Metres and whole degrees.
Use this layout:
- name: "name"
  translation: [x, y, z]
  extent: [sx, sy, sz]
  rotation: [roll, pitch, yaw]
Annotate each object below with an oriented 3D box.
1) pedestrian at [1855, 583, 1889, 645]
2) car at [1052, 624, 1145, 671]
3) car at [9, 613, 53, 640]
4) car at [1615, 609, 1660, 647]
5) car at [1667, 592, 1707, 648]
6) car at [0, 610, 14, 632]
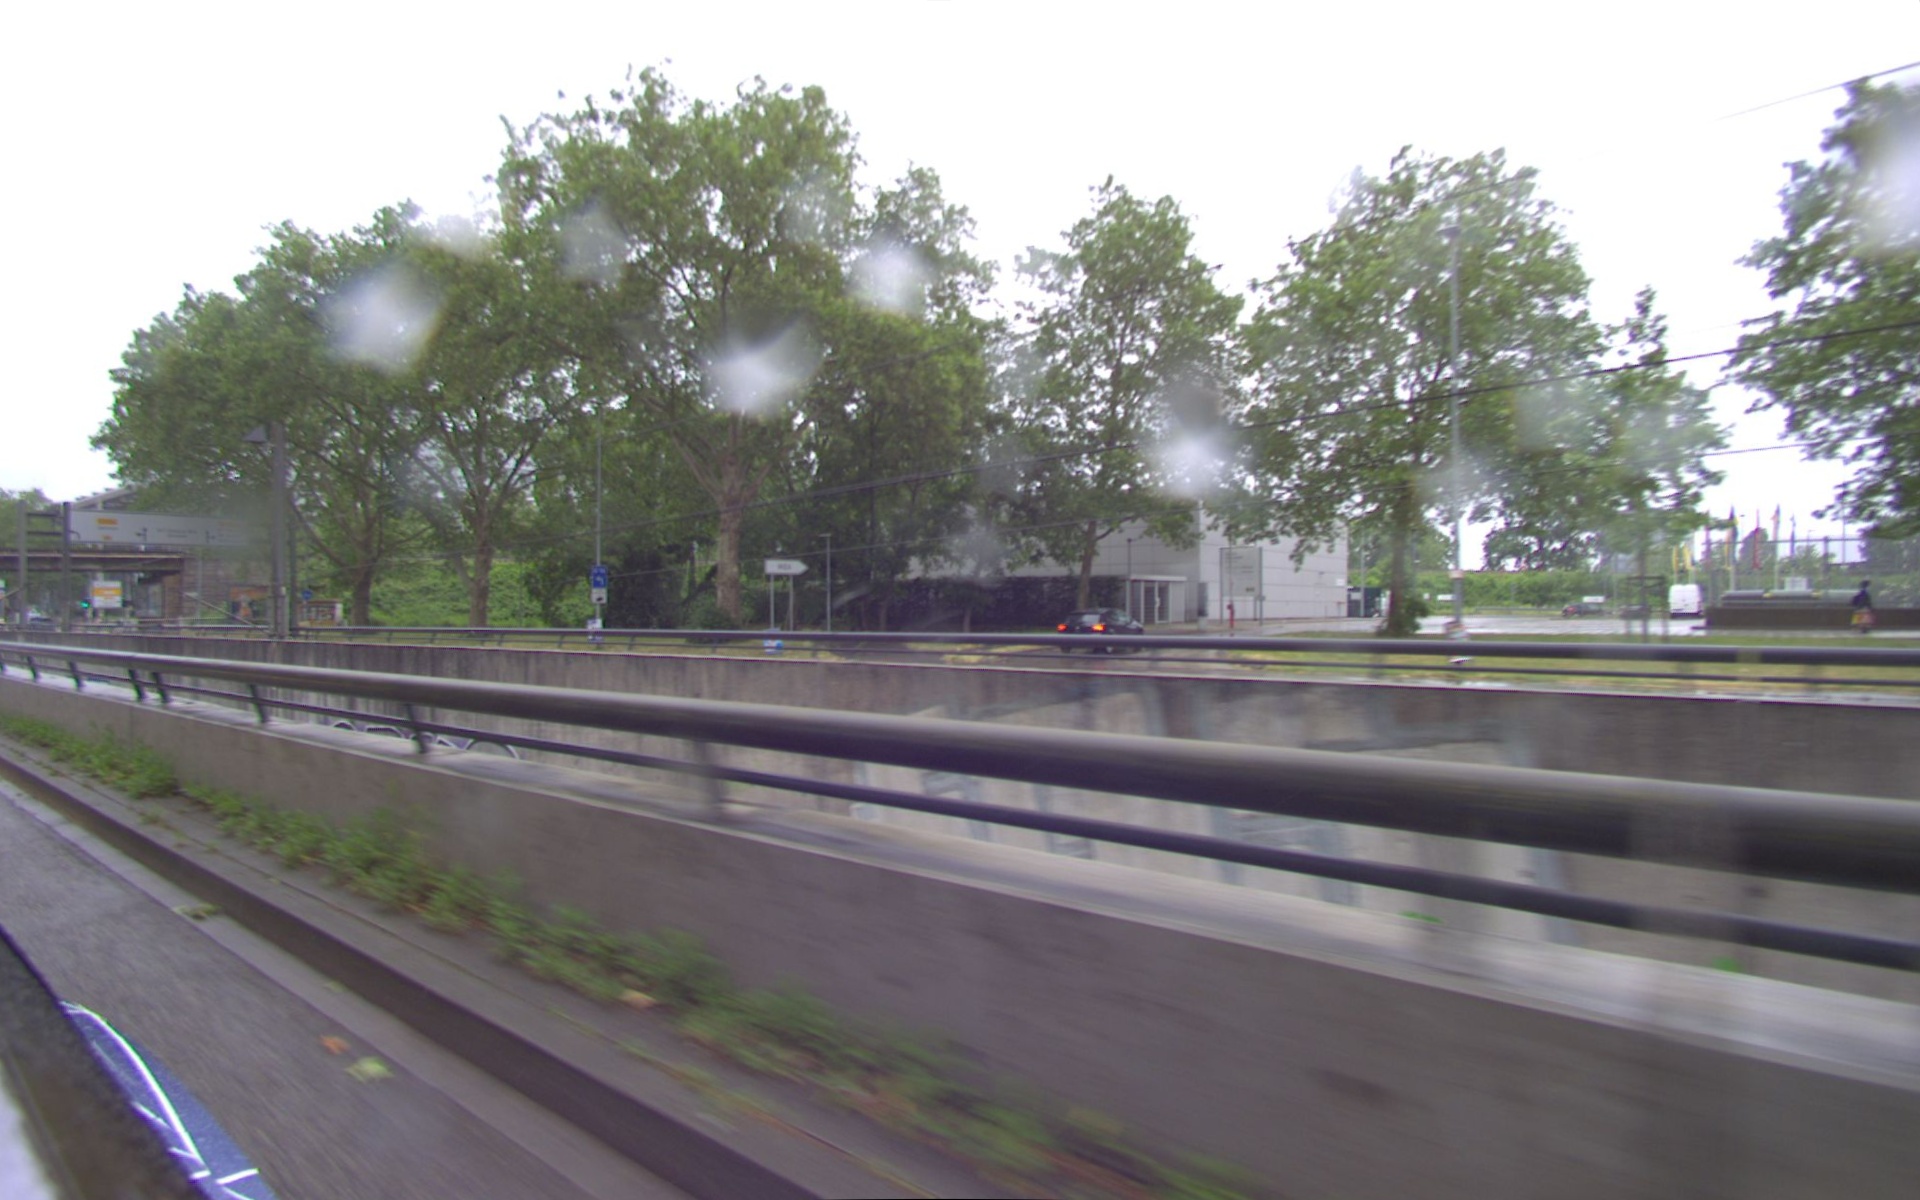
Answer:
- name: "pedestrian"
  translation: [30.447, 0.450, 33.807]
  extent: [0.789, 2.029, 0.991]
  rotation: [-1, 0, 41]
- name: "car"
  translation: [4.580, 1.514, 33.102]
  extent: [1.989, 1.414, 3.762]
  rotation: [-1, -1, 25]
- name: "car"
  translation: [-73.892, 2.106, 80.486]
  extent: [4.506, 2.029, 1.974]
  rotation: [-1, 0, 39]
- name: "car"
  translation: [53.688, 2.184, 80.122]
  extent: [2.215, 2.847, 3.941]
  rotation: [-1, -1, 45]
- name: "car"
  translation: [55.580, 1.514, 77.325]
  extent: [2.210, 4.136, 5.287]
  rotation: [-1, -1, 38]
- name: "car"
  translation: [-91.894, 2.007, 96.417]
  extent: [3.996, 2.029, 1.974]
  rotation: [-1, 0, 39]
